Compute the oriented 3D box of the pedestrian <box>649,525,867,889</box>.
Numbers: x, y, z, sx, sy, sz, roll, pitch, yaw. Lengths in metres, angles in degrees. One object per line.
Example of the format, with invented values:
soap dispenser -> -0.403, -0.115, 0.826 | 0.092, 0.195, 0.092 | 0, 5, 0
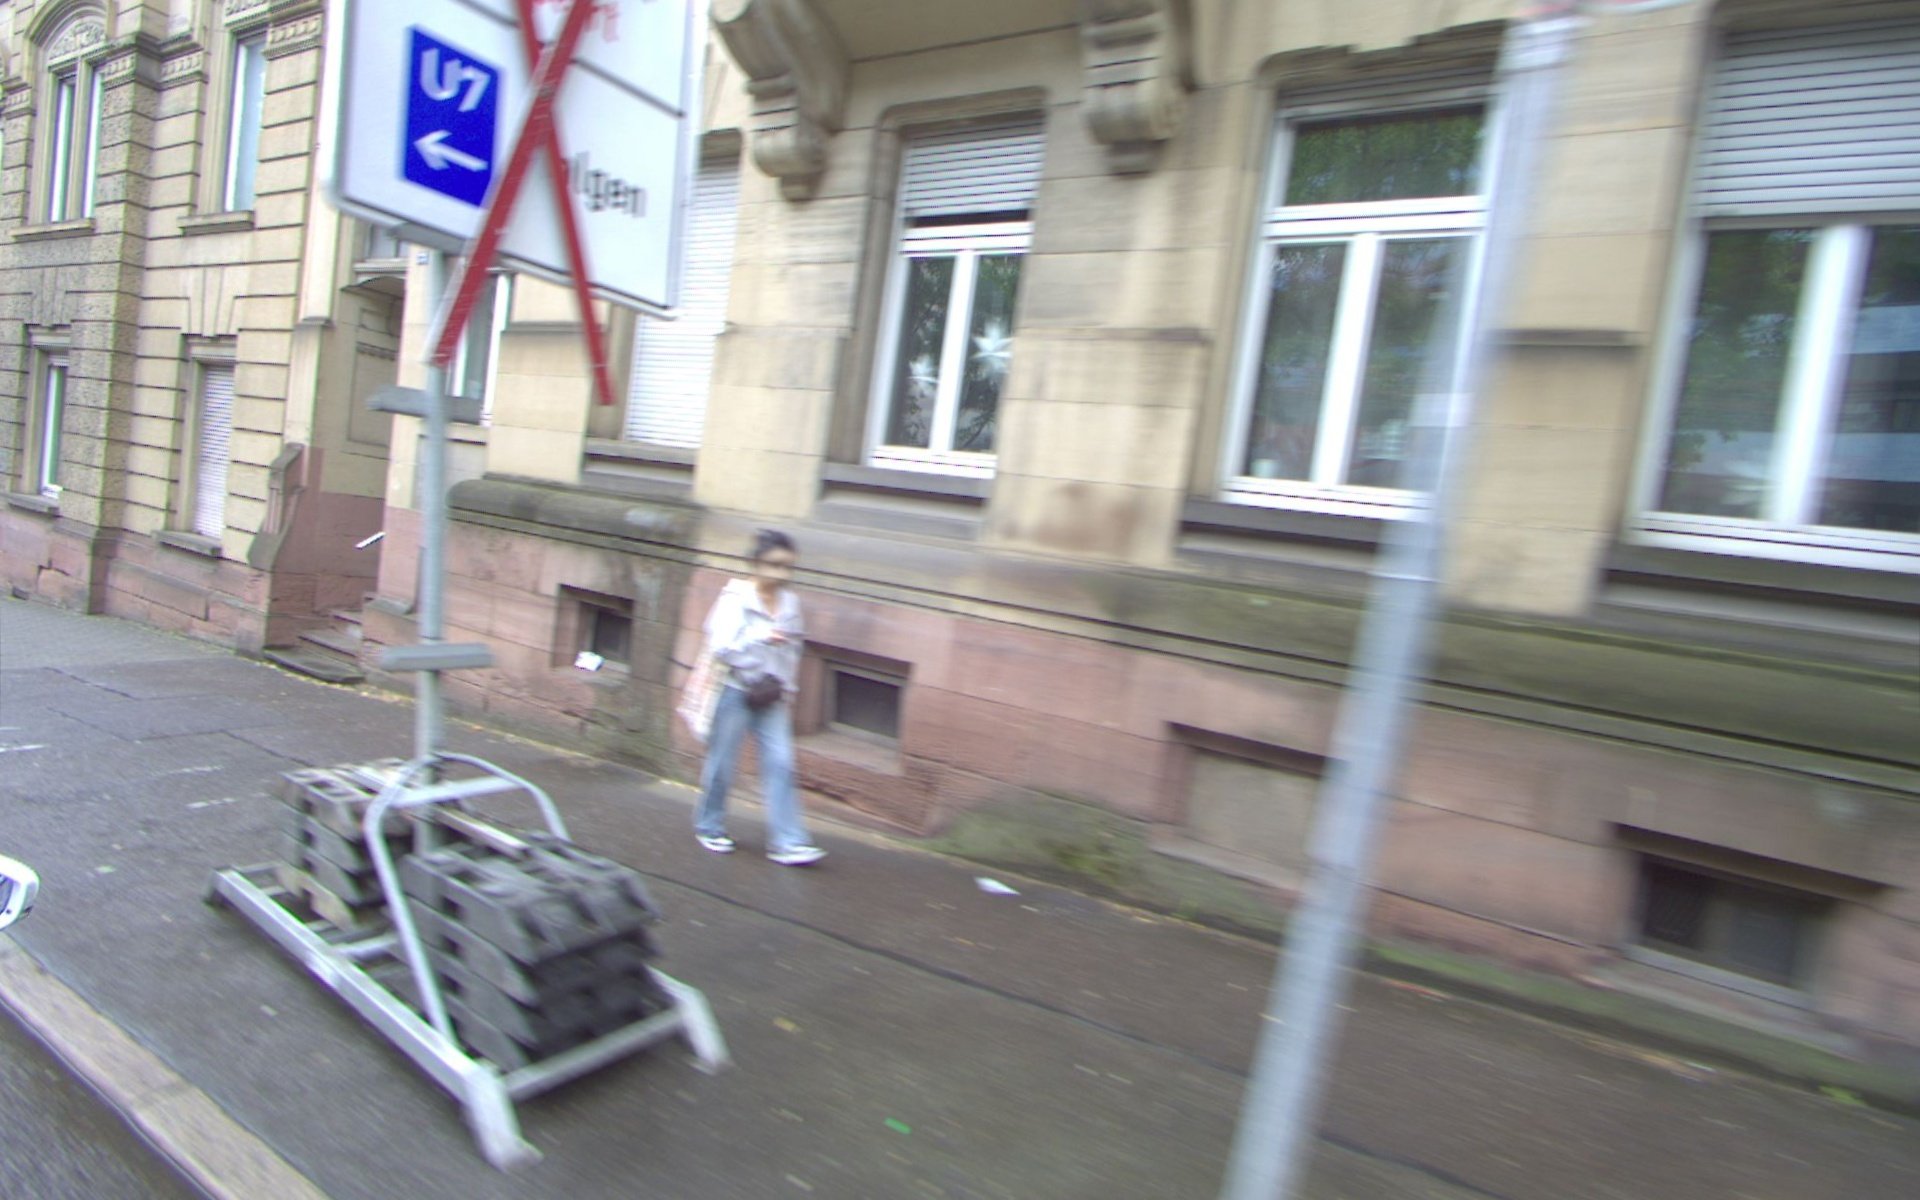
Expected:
pedestrian -> -0.948, 0.451, 4.733 | 0.682, 1.530, 0.630 | 7, 5, 32
